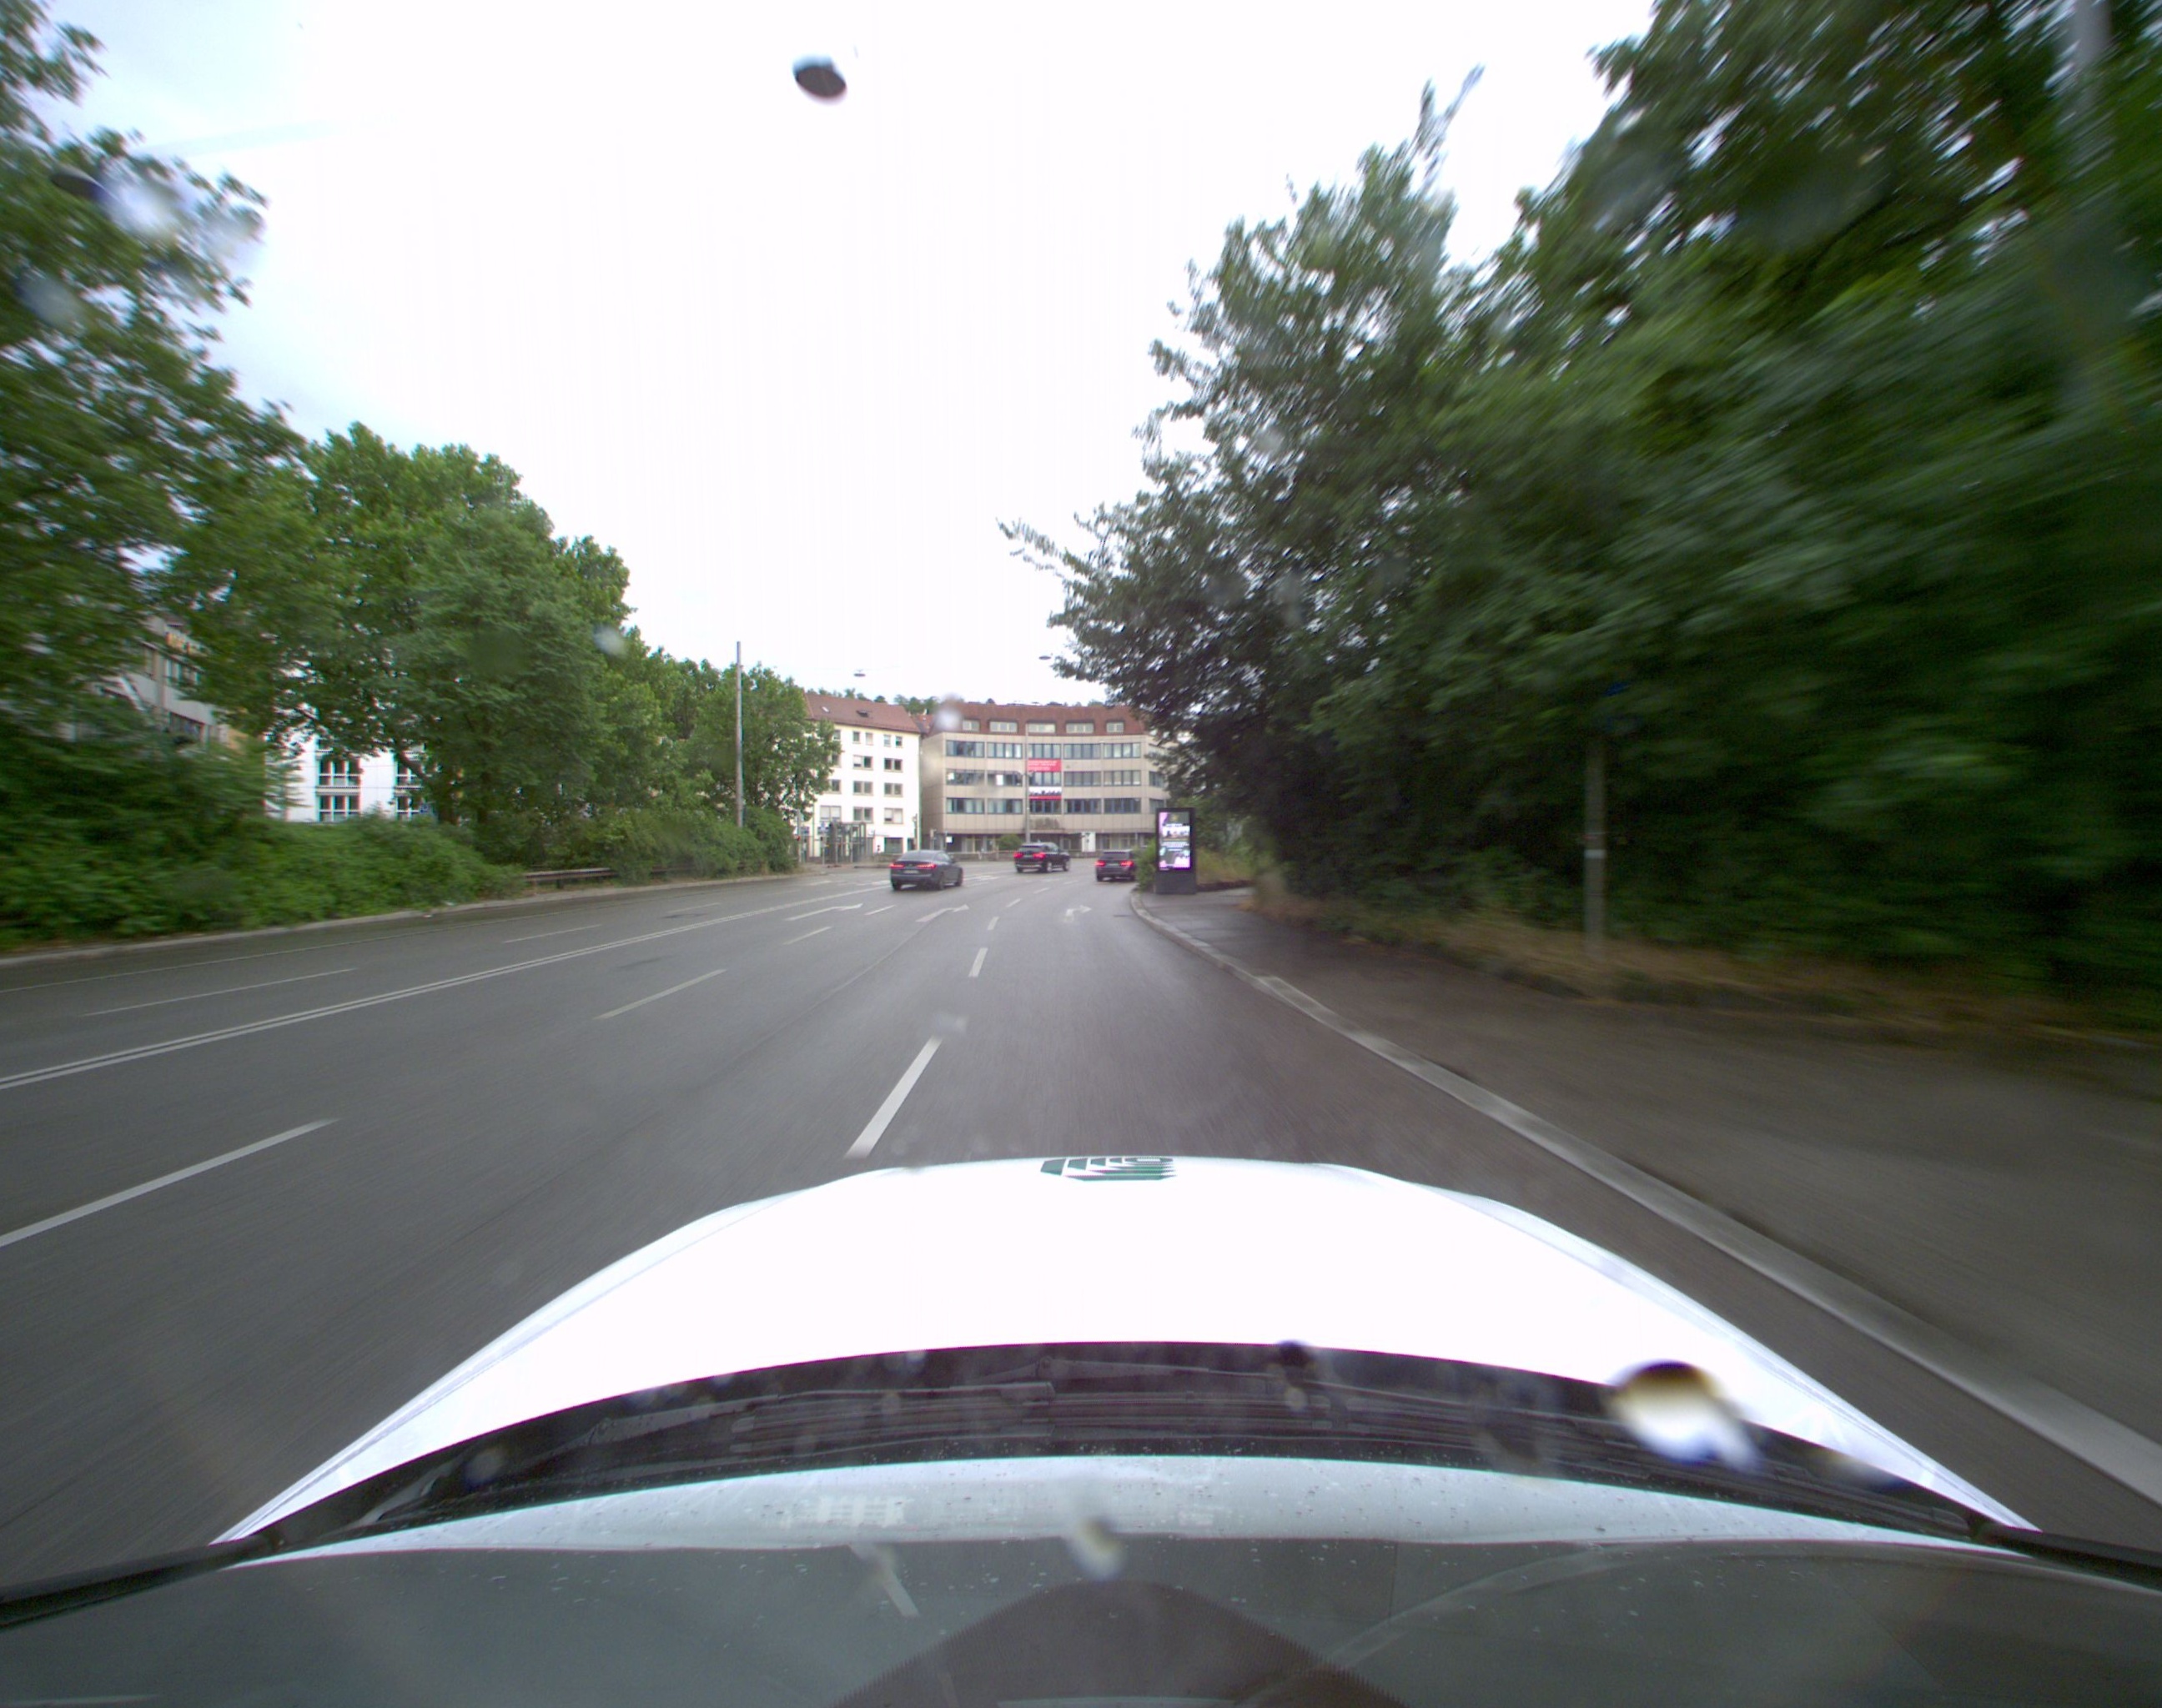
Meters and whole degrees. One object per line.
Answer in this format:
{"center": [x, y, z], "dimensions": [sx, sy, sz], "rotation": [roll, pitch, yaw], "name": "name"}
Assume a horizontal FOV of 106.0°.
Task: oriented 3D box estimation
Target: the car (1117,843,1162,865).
{"center": [3.994, -0.043, 54.964], "dimensions": [1.776, 1.426, 4.637], "rotation": [0, 1, 21], "name": "car"}

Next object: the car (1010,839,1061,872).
{"center": [-2.459, 0.084, 45.075], "dimensions": [1.888, 1.693, 4.012], "rotation": [-1, 0, 10], "name": "car"}

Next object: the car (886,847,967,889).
{"center": [-5.685, 0.511, 30.472], "dimensions": [1.782, 1.426, 4.391], "rotation": [-1, 0, 6], "name": "car"}

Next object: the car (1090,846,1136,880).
{"center": [1.481, 0.386, 37.088], "dimensions": [1.950, 1.426, 4.128], "rotation": [-1, 0, 3], "name": "car"}
